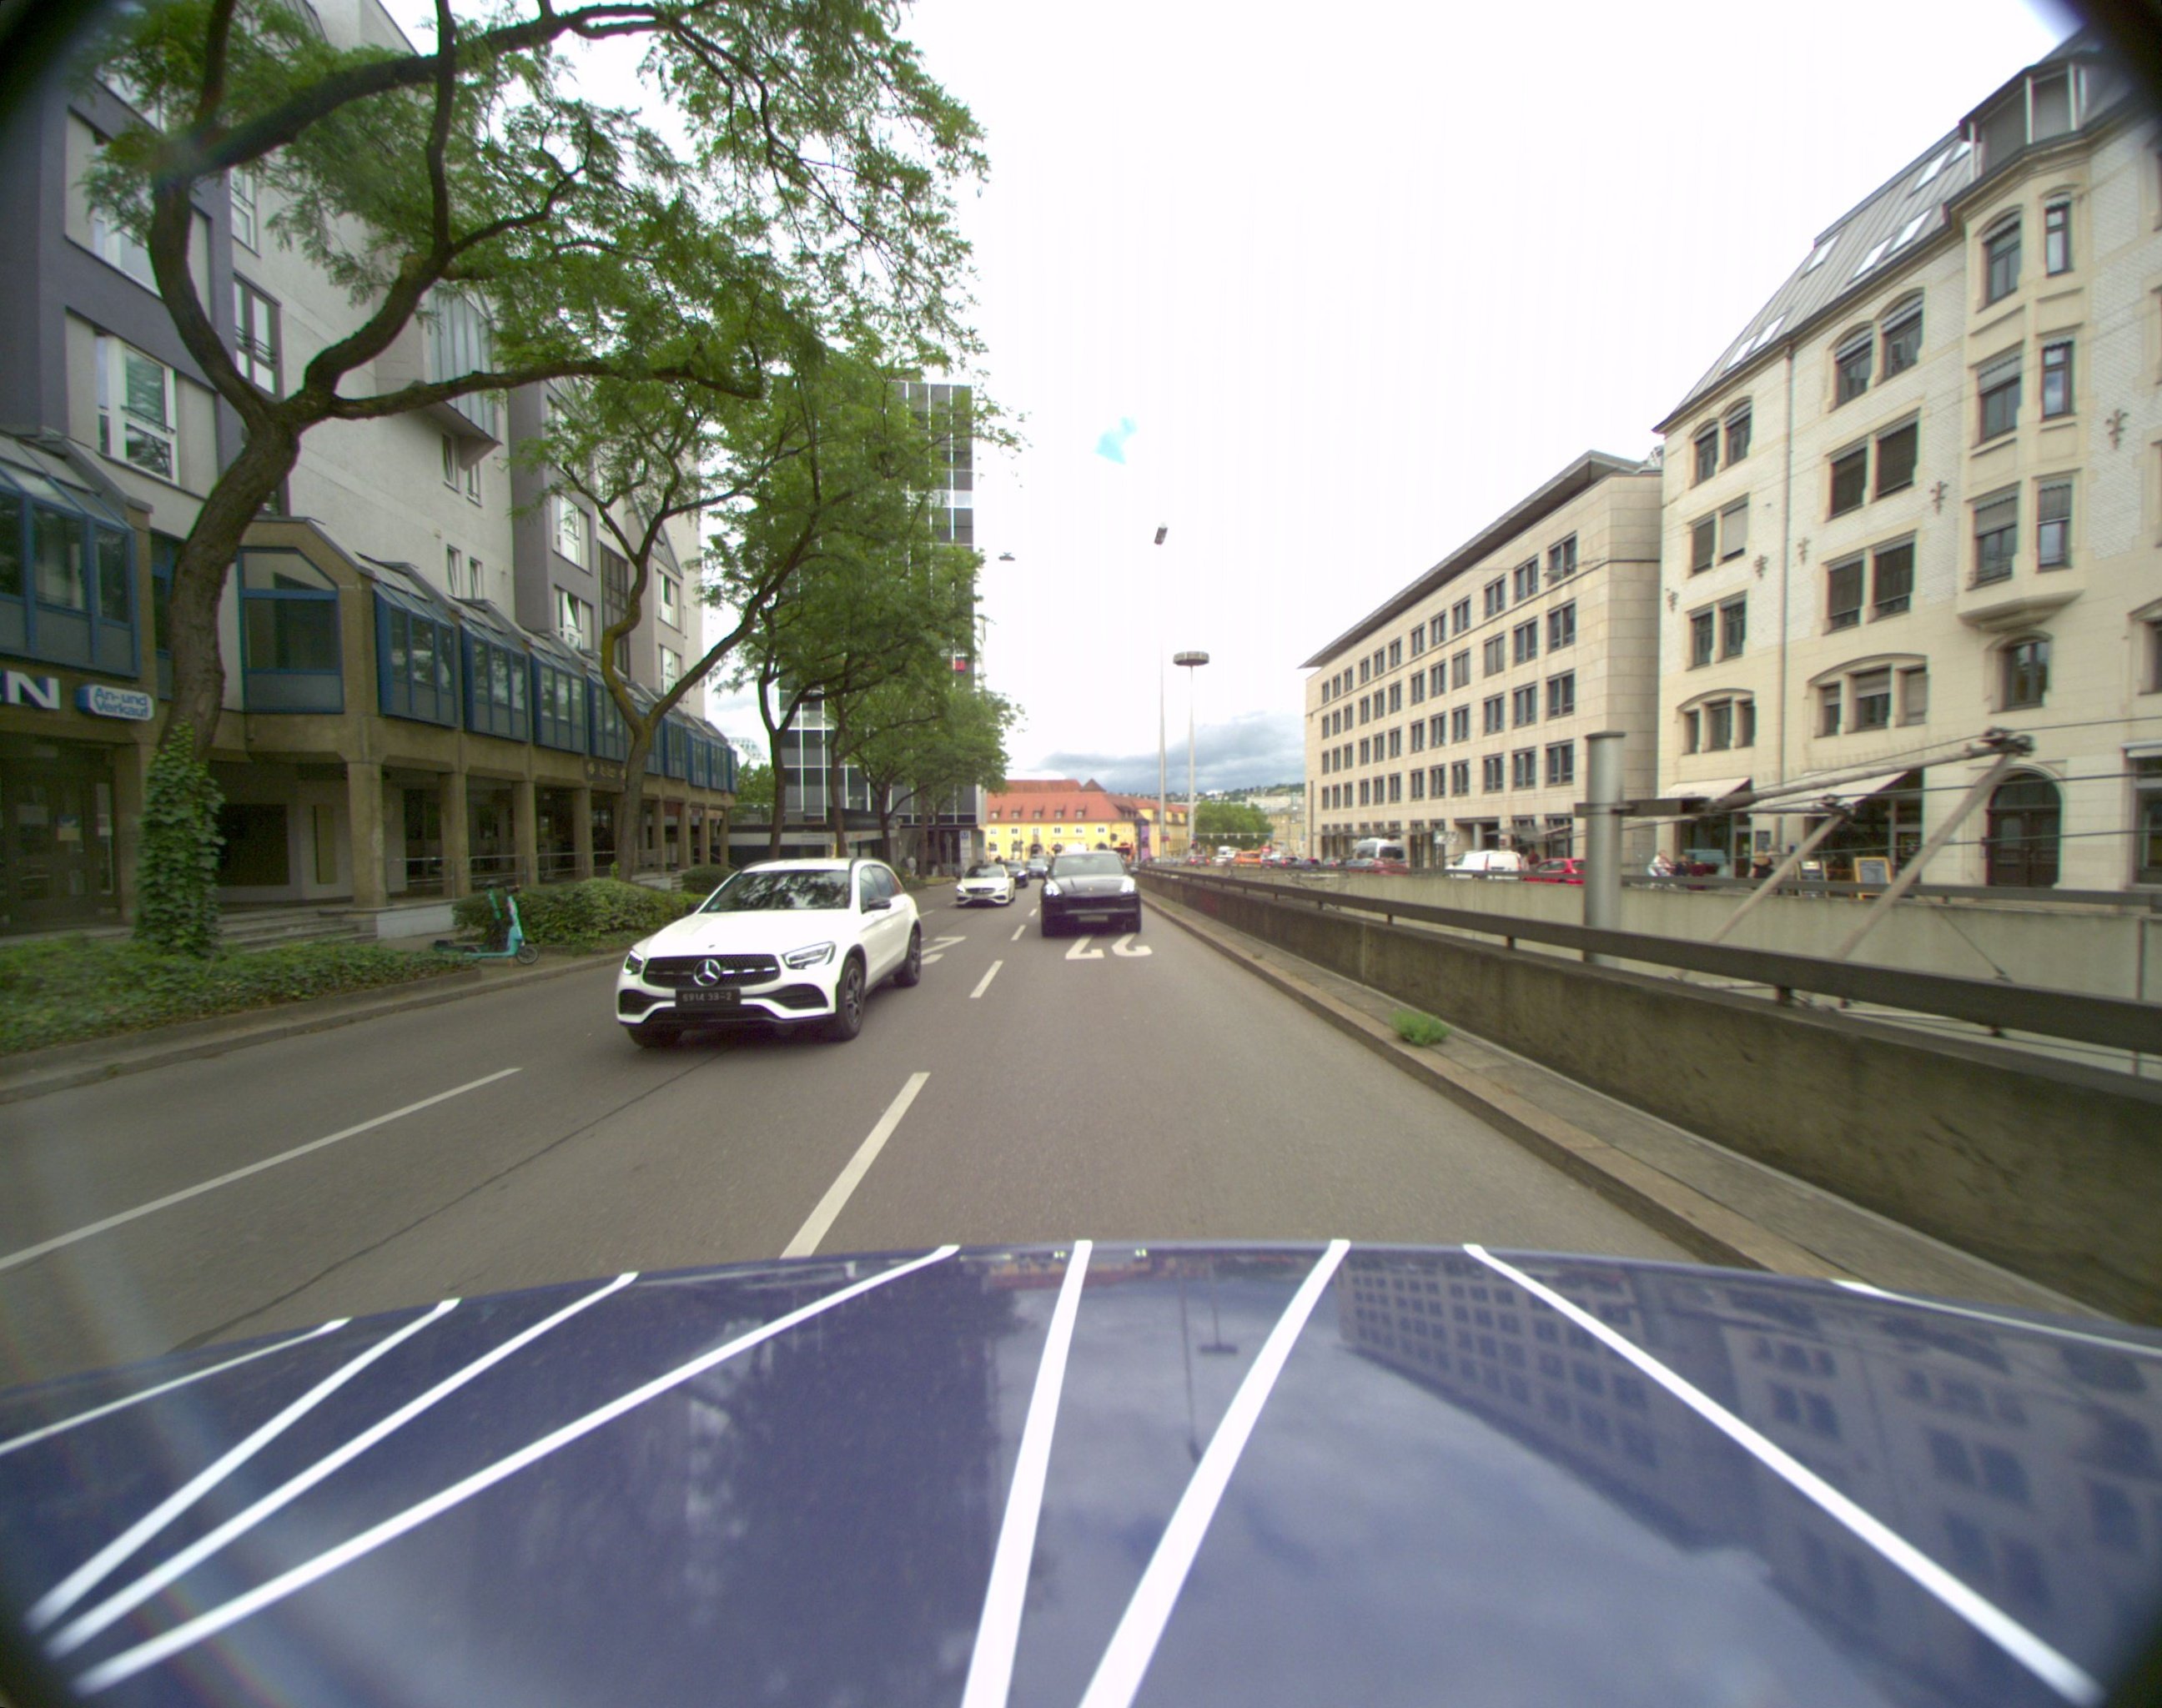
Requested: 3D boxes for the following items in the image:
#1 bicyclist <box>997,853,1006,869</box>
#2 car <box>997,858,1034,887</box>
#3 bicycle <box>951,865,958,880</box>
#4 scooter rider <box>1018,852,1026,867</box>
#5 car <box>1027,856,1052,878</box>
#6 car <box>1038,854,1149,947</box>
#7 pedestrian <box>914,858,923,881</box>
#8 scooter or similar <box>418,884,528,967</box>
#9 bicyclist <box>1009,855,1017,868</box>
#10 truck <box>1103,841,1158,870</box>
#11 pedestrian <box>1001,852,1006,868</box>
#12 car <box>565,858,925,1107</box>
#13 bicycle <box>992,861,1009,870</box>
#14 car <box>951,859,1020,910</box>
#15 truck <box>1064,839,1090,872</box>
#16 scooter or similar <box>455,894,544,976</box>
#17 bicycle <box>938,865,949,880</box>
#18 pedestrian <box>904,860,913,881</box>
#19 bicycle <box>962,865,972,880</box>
[{"bbox_3d":[-8.963,0.777,85.837,0.812,1.835,0.676,2,1,24],"label":"bicyclist"},{"bbox_3d":[-3.500,0.961,41.290,1.707,1.524,3.763,0,0,0],"label":"car"},{"bbox_3d":[-9.886,1.448,59.399,0.491,1.126,1.886,0,0,-6],"label":"bicycle"},{"bbox_3d":[-6.884,0.620,88.710,0.594,1.798,0.641,0,2,-42],"label":"scooter rider"},{"bbox_3d":[-3.046,0.926,56.126,1.707,1.524,3.763,0,0,0],"label":"car"},{"bbox_3d":[0.150,0.867,16.557,2.005,1.628,5.020,-2,0,-2],"label":"car"},{"bbox_3d":[-12.539,1.203,58.584,0.597,1.743,0.940,0,0,-6],"label":"pedestrian"},{"bbox_3d":[-9.856,1.144,12.351,1.199,1.261,0.724,1,0,0],"label":"scooter or similar"},{"bbox_3d":[-7.885,0.840,87.747,0.566,1.541,0.844,0,1,-29],"label":"bicyclist"},{"bbox_3d":[6.874,0.072,104.013,2.720,3.597,9.196,4,4,38],"label":"truck"},{"bbox_3d":[-8.334,0.638,81.935,0.526,1.702,0.752,1,2,-6],"label":"pedestrian"},{"bbox_3d":[-2.948,0.976,7.862,1.807,1.637,4.332,-4,1,-2],"label":"car"},{"bbox_3d":[-9.071,1.323,85.870,1.763,1.001,0.682,1,-1,24],"label":"bicycle"},{"bbox_3d":[-3.279,0.998,26.951,1.870,1.560,4.651,-2,0,-1],"label":"car"},{"bbox_3d":[-0.368,0.106,68.427,1.956,2.767,5.787,-2,0,-3],"label":"truck"},{"bbox_3d":[-8.872,1.215,11.597,1.109,1.175,0.428,1,0,10],"label":"scooter or similar"},{"bbox_3d":[-10.780,1.448,59.566,0.490,1.126,1.688,0,0,0],"label":"bicycle"},{"bbox_3d":[-13.244,1.246,58.473,0.597,1.619,0.757,0,0,-6],"label":"pedestrian"},{"bbox_3d":[-8.909,1.438,59.324,0.491,1.126,1.843,0,0,-1],"label":"bicycle"}]
